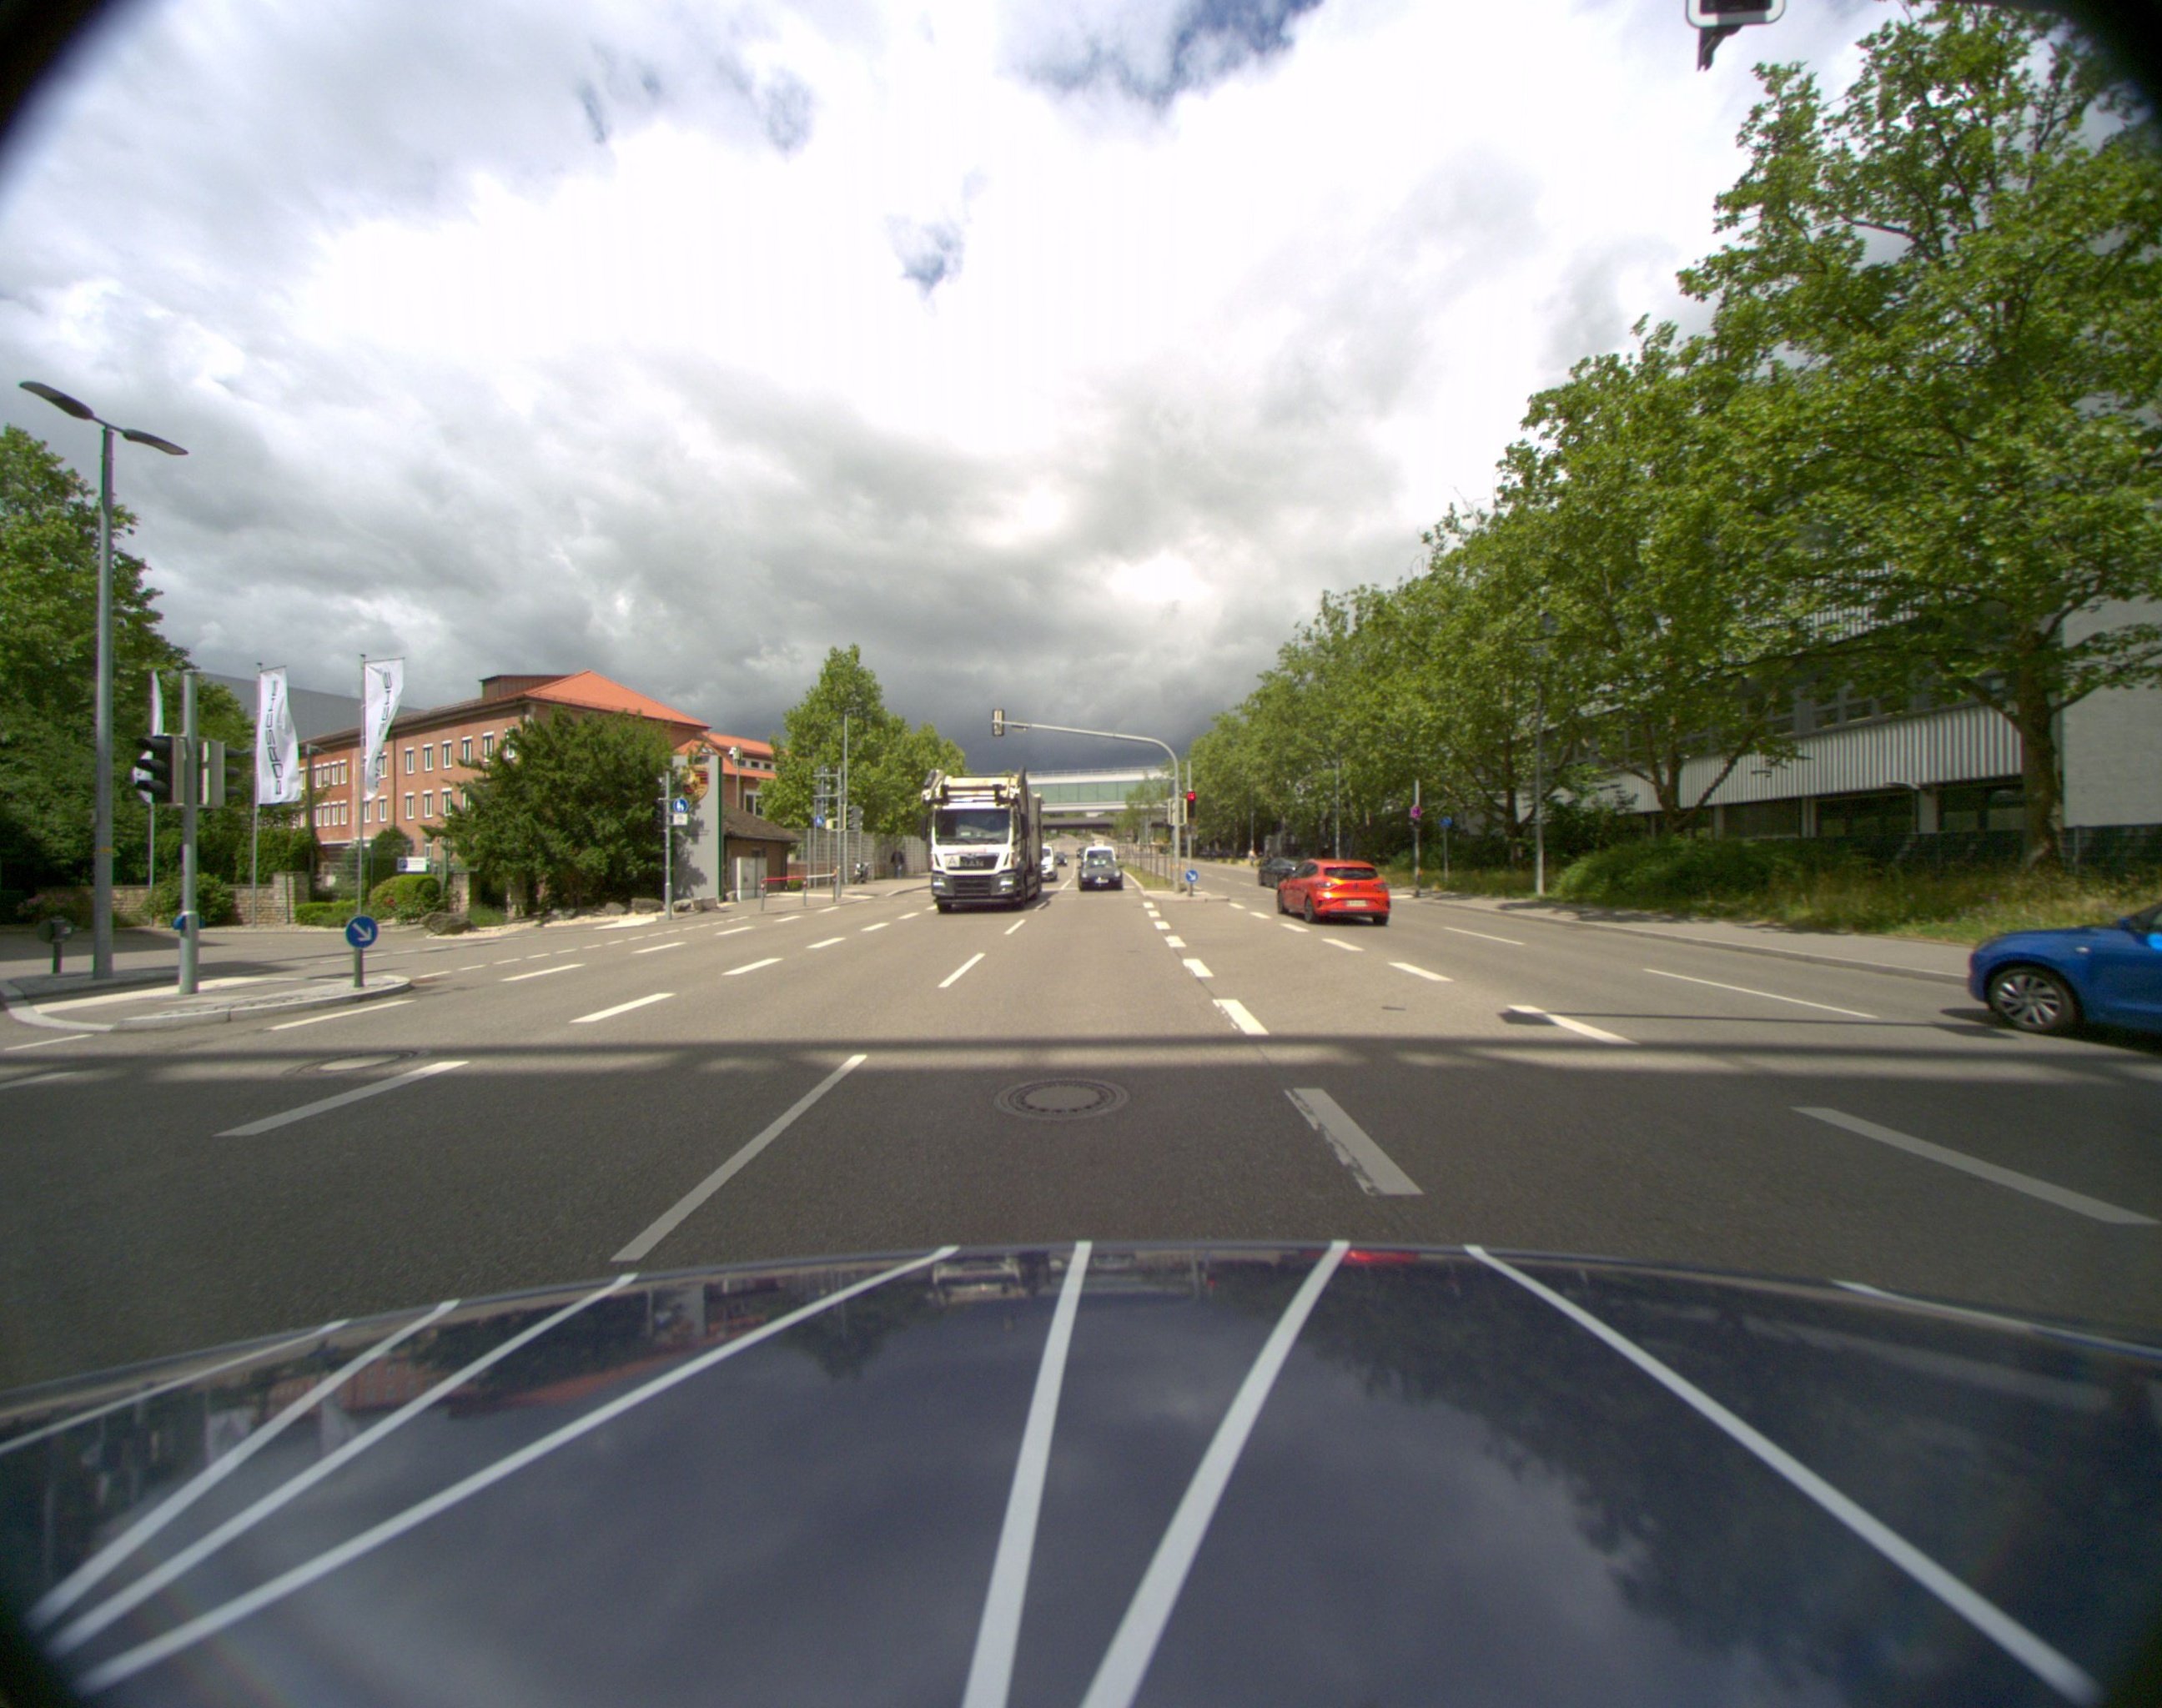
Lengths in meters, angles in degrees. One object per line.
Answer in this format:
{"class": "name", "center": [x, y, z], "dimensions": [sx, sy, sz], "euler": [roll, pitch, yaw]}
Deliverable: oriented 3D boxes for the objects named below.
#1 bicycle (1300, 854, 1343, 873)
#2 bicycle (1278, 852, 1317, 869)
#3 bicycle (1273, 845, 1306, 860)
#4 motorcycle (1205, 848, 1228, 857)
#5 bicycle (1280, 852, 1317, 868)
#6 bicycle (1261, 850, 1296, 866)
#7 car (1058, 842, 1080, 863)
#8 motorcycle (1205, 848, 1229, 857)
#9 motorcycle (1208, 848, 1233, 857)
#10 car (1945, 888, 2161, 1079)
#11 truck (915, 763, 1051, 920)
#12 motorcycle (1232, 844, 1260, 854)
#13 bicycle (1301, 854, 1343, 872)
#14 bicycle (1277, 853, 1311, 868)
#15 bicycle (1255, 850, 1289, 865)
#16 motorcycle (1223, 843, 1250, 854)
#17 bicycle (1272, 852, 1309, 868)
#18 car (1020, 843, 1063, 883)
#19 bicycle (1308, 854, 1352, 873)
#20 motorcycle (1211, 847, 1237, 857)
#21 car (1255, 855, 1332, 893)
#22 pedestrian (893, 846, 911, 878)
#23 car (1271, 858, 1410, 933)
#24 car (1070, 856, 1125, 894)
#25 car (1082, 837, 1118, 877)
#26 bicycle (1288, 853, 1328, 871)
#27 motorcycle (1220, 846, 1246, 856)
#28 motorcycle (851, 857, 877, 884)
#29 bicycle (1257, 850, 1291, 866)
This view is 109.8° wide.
{"class": "bicycle", "center": [15.482, 0.613, 48.994], "dimensions": [2.561, 1.079, 0.616], "euler": [-2, 1, 6]}
{"class": "bicycle", "center": [15.577, 0.477, 54.672], "dimensions": [2.561, 1.079, 0.628], "euler": [-2, 1, 4]}
{"class": "bicycle", "center": [16.105, -0.108, 58.654], "dimensions": [2.411, 1.079, 0.616], "euler": [-2, 1, 11]}
{"class": "motorcycle", "center": [17.064, -0.172, 95.550], "dimensions": [2.830, 1.029, 0.600], "euler": [-2, -2, 4]}
{"class": "bicycle", "center": [15.925, 0.466, 55.584], "dimensions": [2.559, 1.079, 0.616], "euler": [-2, 1, 14]}
{"class": "bicycle", "center": [15.511, 0.326, 59.813], "dimensions": [2.562, 1.171, 0.615], "euler": [-2, 1, 1]}
{"class": "car", "center": [-1.146, -0.152, 76.481], "dimensions": [1.871, 1.944, 4.711], "euler": [-3, 1, 2]}
{"class": "motorcycle", "center": [16.502, -0.213, 92.372], "dimensions": [2.830, 1.029, 0.600], "euler": [-2, -2, 4]}
{"class": "motorcycle", "center": [16.620, -0.165, 90.462], "dimensions": [2.830, 1.029, 0.600], "euler": [-2, -2, 4]}
{"class": "car", "center": [9.256, 1.043, 5.477], "dimensions": [1.697, 1.421, 3.822], "euler": [0, 0, 0]}
{"class": "truck", "center": [-2.684, -0.380, 24.515], "dimensions": [2.713, 3.863, 10.740], "euler": [-2, 1, 1]}
{"class": "motorcycle", "center": [17.567, -0.529, 80.946], "dimensions": [2.830, 1.029, 0.600], "euler": [-2, -2, 4]}
{"class": "bicycle", "center": [15.814, 0.588, 49.930], "dimensions": [2.560, 1.079, 0.616], "euler": [-2, 1, 8]}
{"class": "bicycle", "center": [16.139, 0.485, 57.534], "dimensions": [2.413, 1.079, 0.615], "euler": [-2, 1, 0]}
{"class": "bicycle", "center": [15.511, 0.280, 61.625], "dimensions": [2.562, 1.171, 0.615], "euler": [-2, 1, 1]}
{"class": "motorcycle", "center": [17.247, -0.593, 84.336], "dimensions": [2.830, 1.029, 0.600], "euler": [-2, -2, 4]}
{"class": "bicycle", "center": [15.634, 0.459, 56.675], "dimensions": [2.561, 1.079, 0.616], "euler": [-2, 1, 7]}
{"class": "car", "center": [-2.084, 0.432, 41.691], "dimensions": [1.871, 1.944, 4.711], "euler": [-2, 1, 2]}
{"class": "bicycle", "center": [15.656, 0.618, 47.771], "dimensions": [2.561, 1.079, 0.616], "euler": [-2, 1, 6]}
{"class": "motorcycle", "center": [16.514, -0.265, 87.611], "dimensions": [2.830, 1.029, 0.600], "euler": [-2, -2, 4]}
{"class": "car", "center": [9.308, 0.817, 33.646], "dimensions": [1.999, 1.446, 4.767], "euler": [1, 1, -1]}
{"class": "pedestrian", "center": [-10.084, 0.454, 42.804], "dimensions": [0.729, 1.756, 1.015], "euler": [-2, 1, 1]}
{"class": "car", "center": [5.919, 0.879, 17.829], "dimensions": [1.889, 1.446, 3.902], "euler": [1, 1, 0]}
{"class": "car", "center": [0.720, 0.792, 29.859], "dimensions": [1.838, 1.317, 4.002], "euler": [-3, 0, 5]}
{"class": "car", "center": [1.065, 0.197, 41.013], "dimensions": [1.824, 2.001, 4.392], "euler": [-1, -1, 2]}
{"class": "bicycle", "center": [15.541, 0.551, 52.032], "dimensions": [2.564, 1.079, 0.615], "euler": [-2, 1, -7]}
{"class": "motorcycle", "center": [17.258, -0.297, 86.467], "dimensions": [2.829, 1.029, 0.600], "euler": [-2, -2, 7]}
{"class": "motorcycle", "center": [-10.362, 0.767, 36.317], "dimensions": [0.570, 1.219, 2.175], "euler": [0, 1, 1]}
{"class": "bicycle", "center": [15.433, 0.296, 60.782], "dimensions": [2.562, 1.171, 0.615], "euler": [-2, 1, 1]}
